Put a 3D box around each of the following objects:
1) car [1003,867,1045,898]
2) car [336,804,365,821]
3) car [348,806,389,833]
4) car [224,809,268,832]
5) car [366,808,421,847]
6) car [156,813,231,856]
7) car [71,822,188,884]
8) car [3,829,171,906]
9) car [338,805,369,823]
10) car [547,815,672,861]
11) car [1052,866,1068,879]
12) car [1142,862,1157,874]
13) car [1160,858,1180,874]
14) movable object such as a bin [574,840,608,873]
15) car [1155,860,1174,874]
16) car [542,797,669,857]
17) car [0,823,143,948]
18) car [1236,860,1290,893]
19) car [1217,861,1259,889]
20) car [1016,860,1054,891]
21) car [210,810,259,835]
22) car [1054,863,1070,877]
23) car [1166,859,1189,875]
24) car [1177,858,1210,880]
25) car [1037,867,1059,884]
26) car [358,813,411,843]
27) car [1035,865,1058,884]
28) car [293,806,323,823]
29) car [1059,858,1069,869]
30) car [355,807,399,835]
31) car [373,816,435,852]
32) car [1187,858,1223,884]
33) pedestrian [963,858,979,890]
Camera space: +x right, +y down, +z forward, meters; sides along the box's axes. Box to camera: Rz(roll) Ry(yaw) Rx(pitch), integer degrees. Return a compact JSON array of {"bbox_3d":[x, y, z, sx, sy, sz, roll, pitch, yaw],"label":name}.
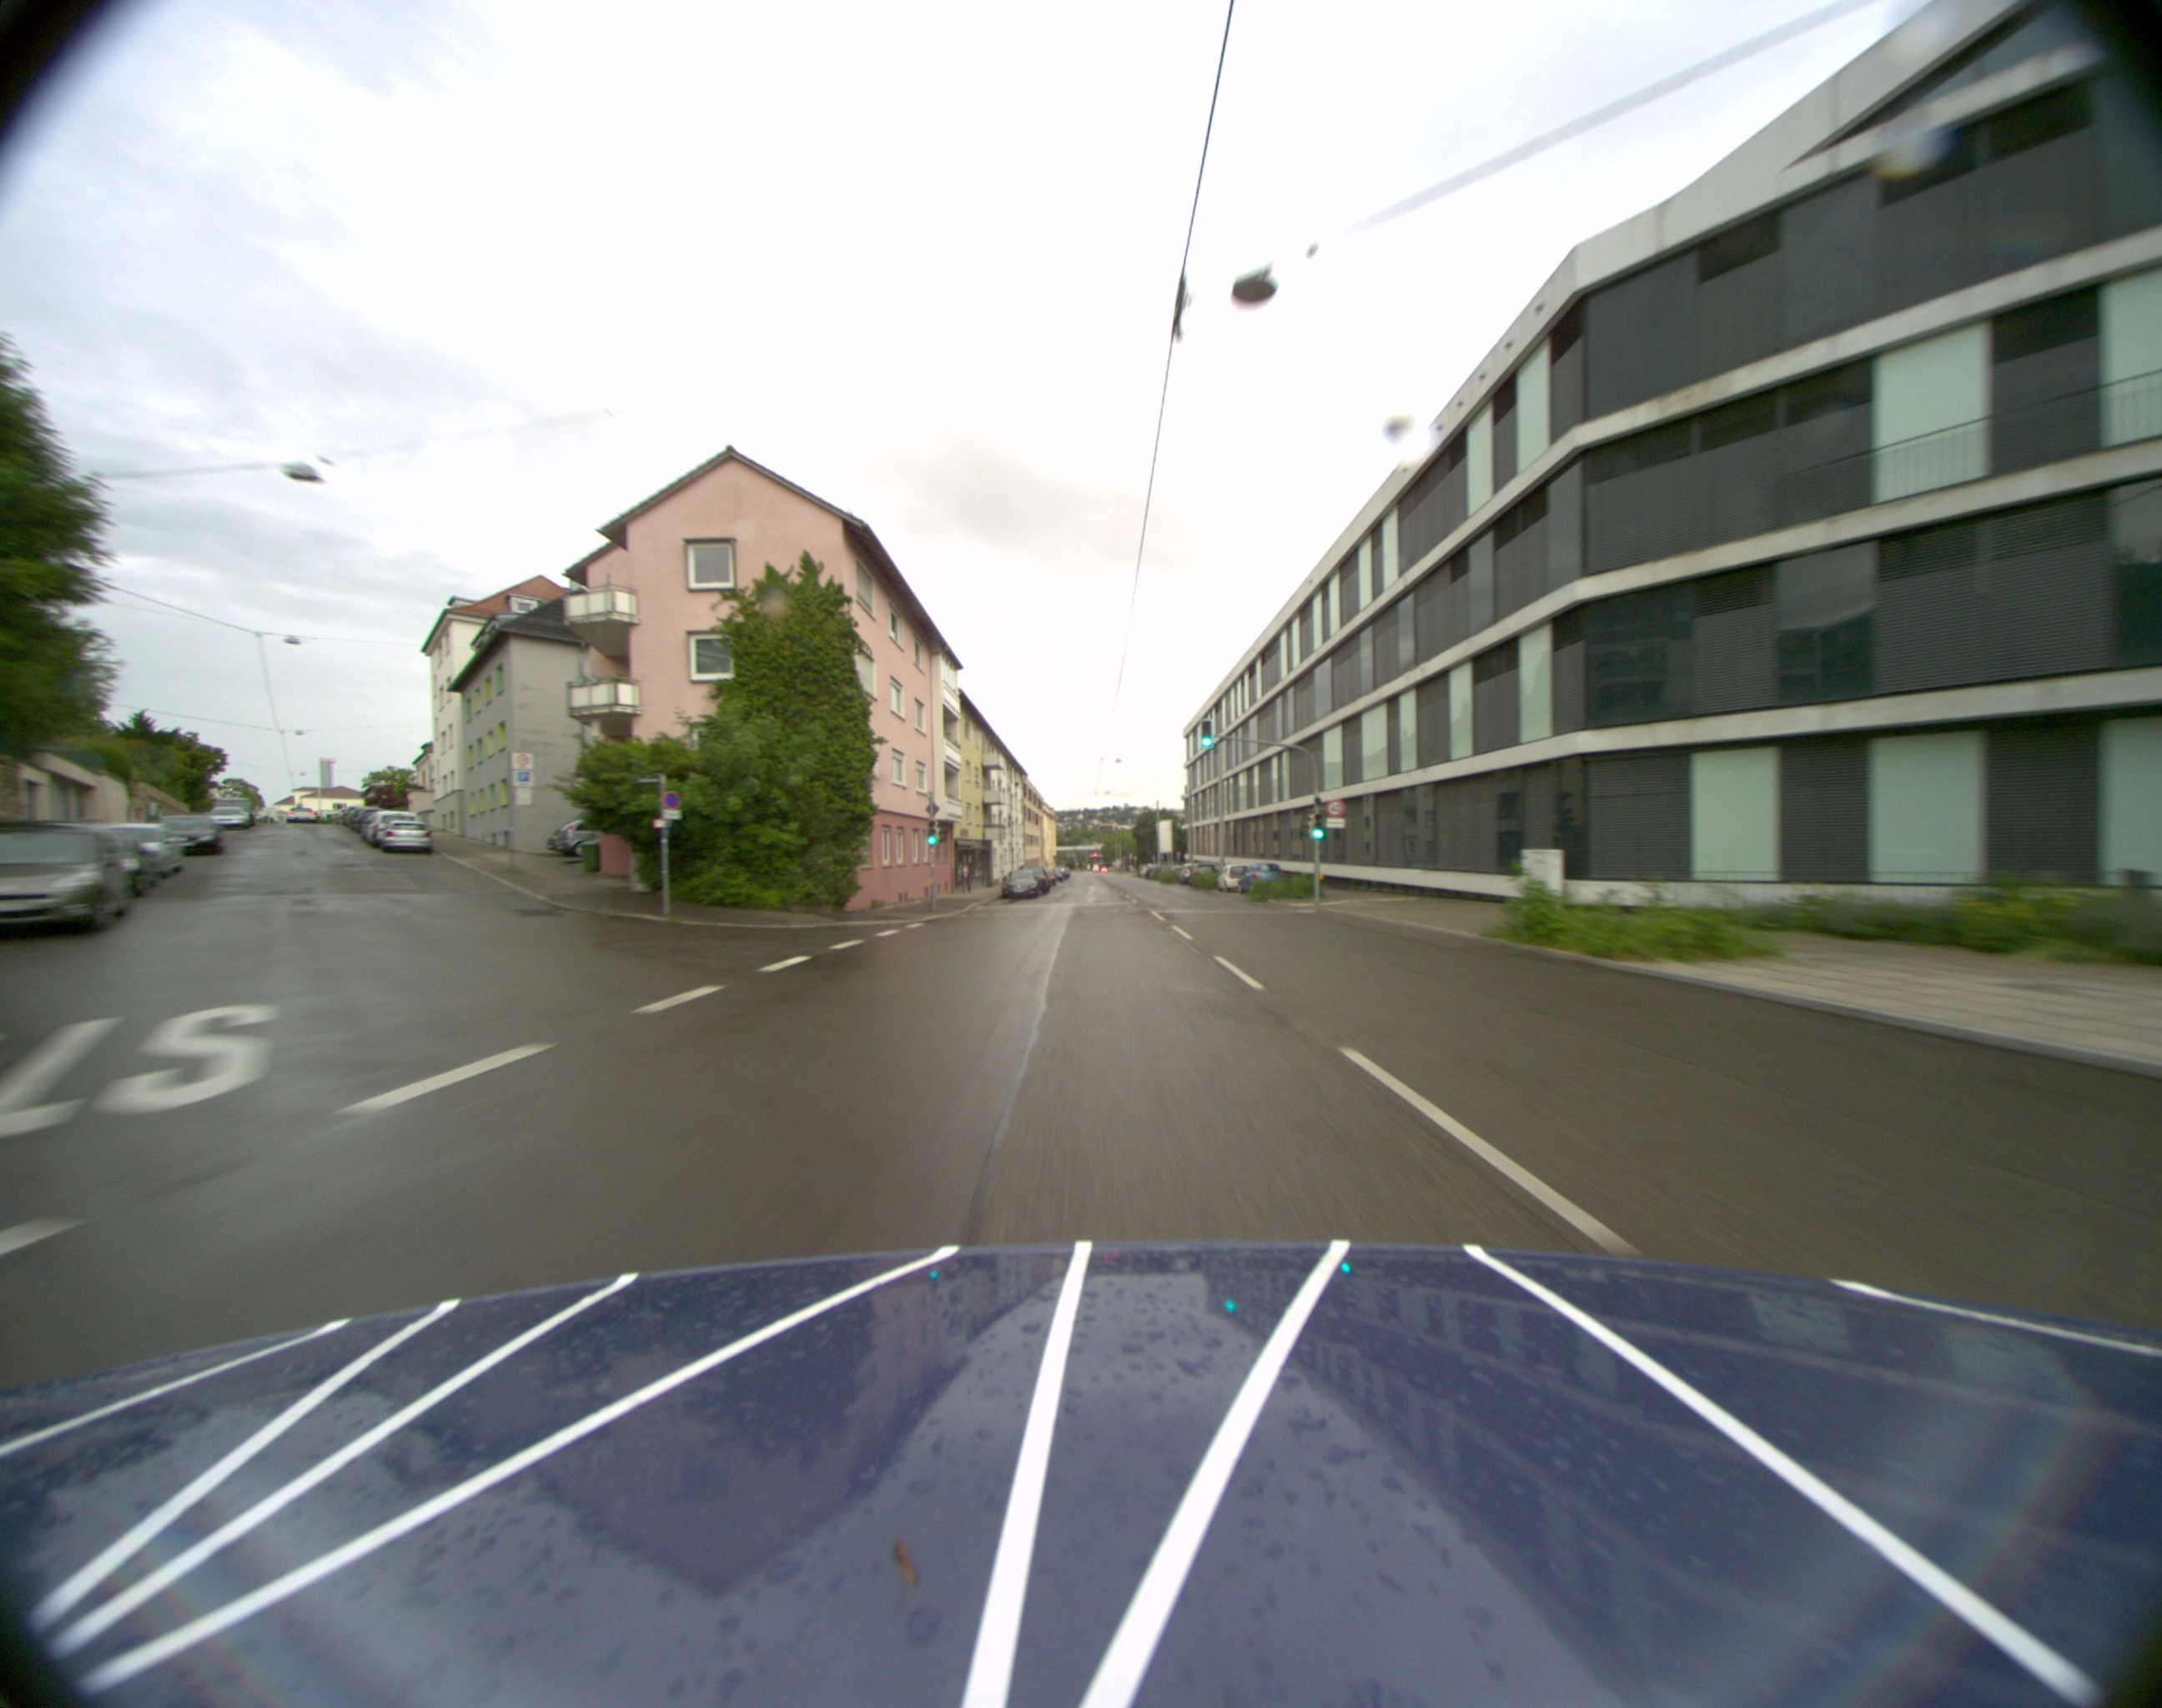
[{"bbox_3d":[-2.976,1.447,40.357,1.797,1.510,4.513,-1,-1,0],"label":"car"},{"bbox_3d":[-73.183,-4.166,76.116,3.987,1.502,1.804,4,3,42],"label":"car"},{"bbox_3d":[-50.510,-2.452,53.871,3.987,1.688,1.804,4,3,42],"label":"car"},{"bbox_3d":[-57.209,-2.343,52.100,1.687,1.446,3.833,-3,5,-43],"label":"car"},{"bbox_3d":[-34.328,-1.334,37.903,3.903,1.756,1.687,4,3,42],"label":"car"},{"bbox_3d":[-34.075,-0.812,29.262,4.324,1.446,1.687,4,5,42],"label":"car"},{"bbox_3d":[-26.468,-0.109,21.273,4.324,1.446,1.687,4,5,42],"label":"car"},{"bbox_3d":[-22.410,0.224,17.304,3.987,1.446,1.804,4,3,45],"label":"car"},{"bbox_3d":[-68.527,-3.806,71.566,3.987,1.502,1.804,4,3,42],"label":"car"},{"bbox_3d":[-20.688,-0.713,33.448,1.946,1.853,4.274,5,4,43],"label":"car"},{"bbox_3d":[-2.381,2.115,86.286,1.630,1.402,3.778,-2,-1,1],"label":"car"},{"bbox_3d":[8.916,1.815,99.229,1.642,1.576,4.042,-2,-1,1],"label":"car"},{"bbox_3d":[8.656,1.163,74.117,1.565,1.463,4.042,-2,-1,1],"label":"car"},{"bbox_3d":[-17.523,0.074,27.183,0.758,1.151,0.749,0,3,-10],"label":"movable object such as a bin"},{"bbox_3d":[9.093,1.374,82.869,1.642,1.463,4.042,-2,-1,1],"label":"car"},{"bbox_3d":[-22.139,-1.239,35.481,4.605,2.578,2.328,-1,4,-45],"label":"car"},{"bbox_3d":[-17.318,0.410,12.613,4.400,1.731,1.830,4,3,43],"label":"car"},{"bbox_3d":[8.621,1.034,36.235,1.641,1.458,3.583,-1,0,-1],"label":"car"},{"bbox_3d":[8.453,1.107,41.144,1.641,1.458,3.584,-1,0,2],"label":"car"},{"bbox_3d":[-2.742,1.251,46.012,1.968,1.763,4.513,0,-1,0],"label":"car"},{"bbox_3d":[-54.141,-2.041,48.639,1.687,1.446,3.833,-3,5,-43],"label":"car"},{"bbox_3d":[-2.468,2.103,101.721,1.911,1.865,4.750,-2,-1,1],"label":"car"},{"bbox_3d":[8.620,1.153,67.988,1.565,1.385,4.042,-2,-1,1],"label":"car"},{"bbox_3d":[8.560,1.136,58.101,1.835,1.580,4.363,-3,-1,1],"label":"car"},{"bbox_3d":[-2.864,1.863,66.515,1.630,1.402,3.778,-2,-1,1],"label":"car"},{"bbox_3d":[-38.537,-1.445,42.002,3.987,1.502,1.804,4,3,42],"label":"car"},{"bbox_3d":[-2.777,1.678,62.146,1.630,1.447,3.484,-2,-1,0],"label":"car"},{"bbox_3d":[-69.023,-3.533,67.806,3.833,1.446,1.687,4,5,42],"label":"car"},{"bbox_3d":[-3.951,2.218,178.208,1.891,2.446,4.514,-2,0,1],"label":"car"},{"bbox_3d":[-46.397,-2.169,50.052,3.987,1.688,1.804,4,3,42],"label":"car"},{"bbox_3d":[-30.945,-0.918,34.697,3.903,1.446,1.687,4,3,42],"label":"car"},{"bbox_3d":[8.410,1.127,51.857,1.887,1.580,4.364,-3,-1,3],"label":"car"},{"bbox_3d":[-6.168,1.144,42.617,0.715,1.763,0.748,2,0,0],"label":"pedestrian"}]
